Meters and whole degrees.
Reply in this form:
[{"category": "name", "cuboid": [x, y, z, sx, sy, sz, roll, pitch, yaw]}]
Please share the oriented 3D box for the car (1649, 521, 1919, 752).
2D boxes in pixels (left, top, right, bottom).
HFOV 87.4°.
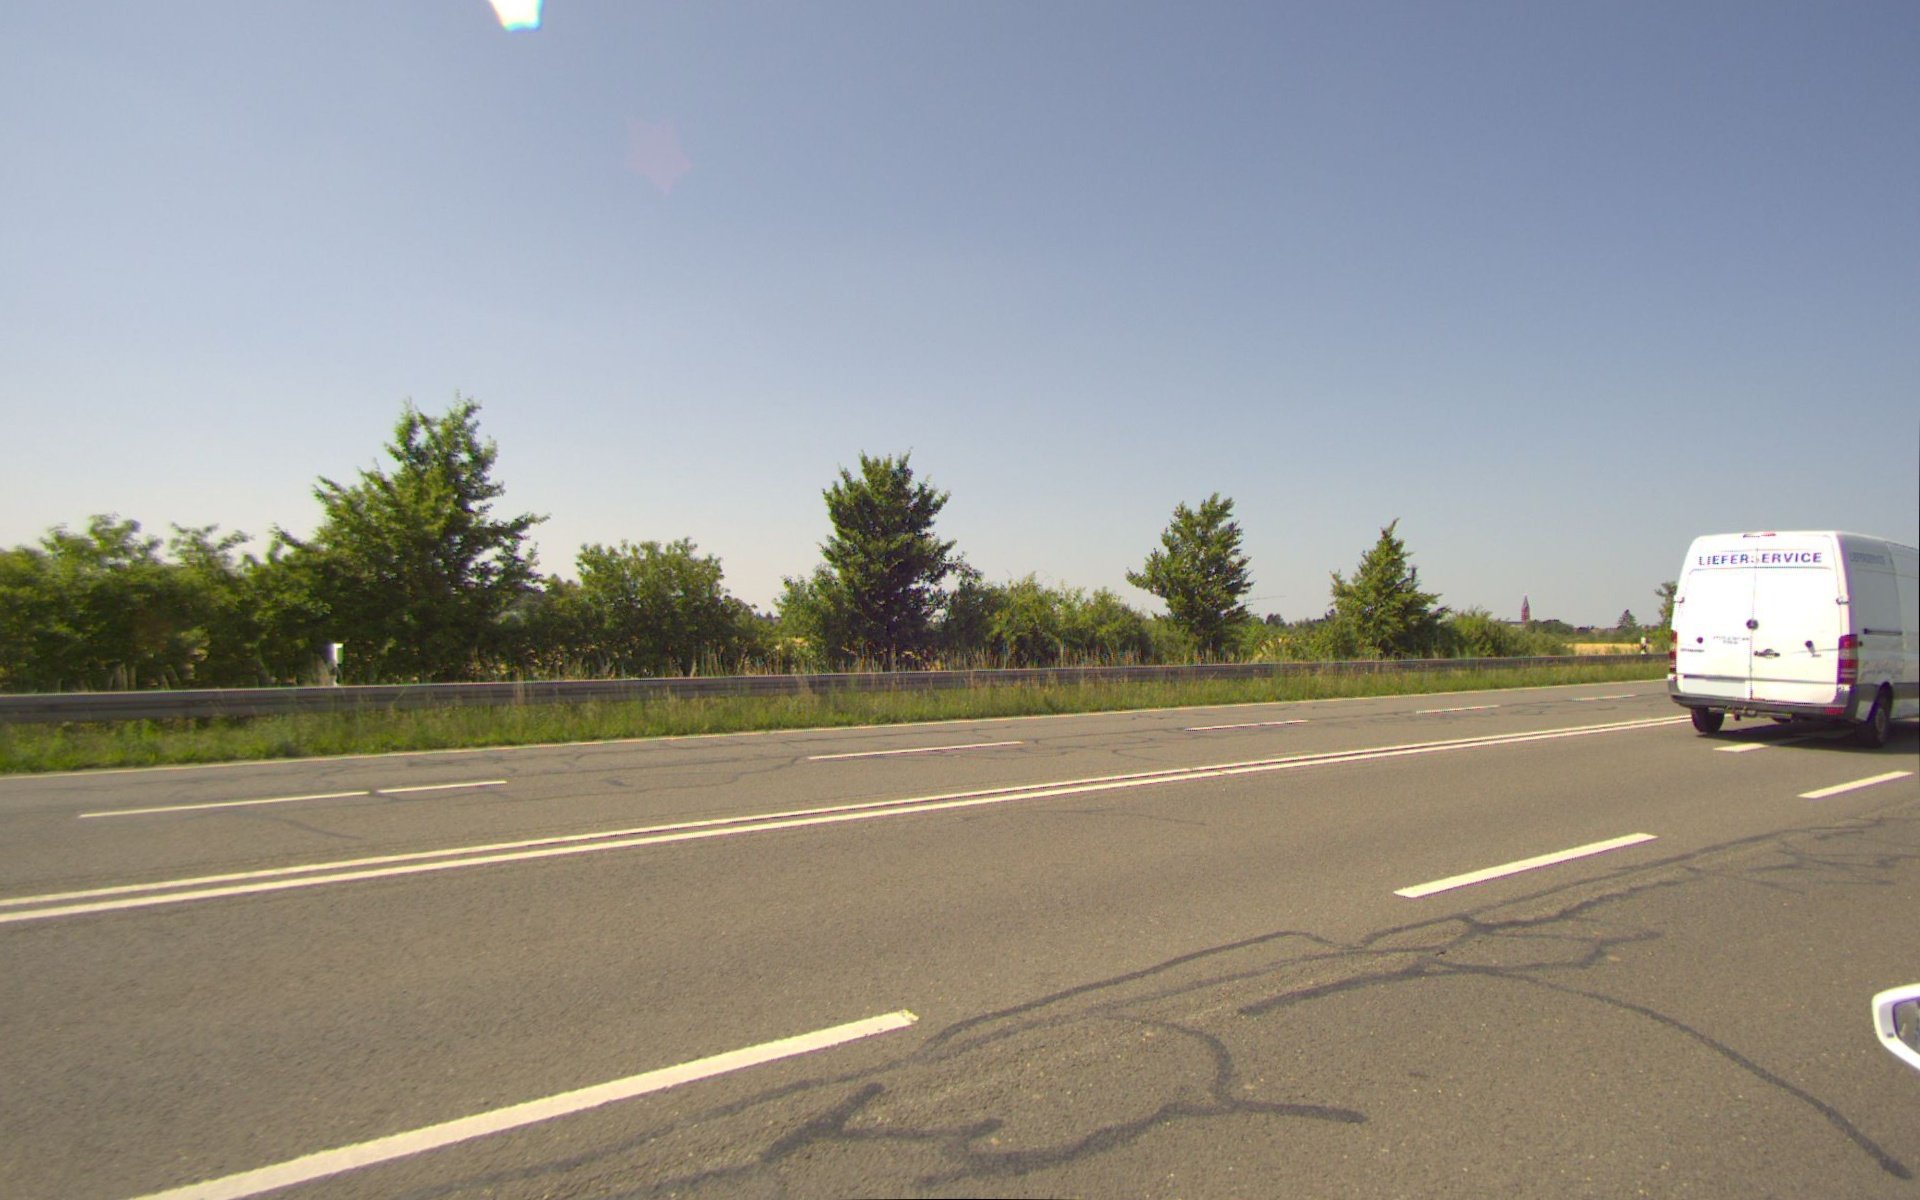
[{"category": "car", "cuboid": [12.024, 0.480, 13.971, 5.679, 2.655, 2.027, 1, -1, -33]}]
